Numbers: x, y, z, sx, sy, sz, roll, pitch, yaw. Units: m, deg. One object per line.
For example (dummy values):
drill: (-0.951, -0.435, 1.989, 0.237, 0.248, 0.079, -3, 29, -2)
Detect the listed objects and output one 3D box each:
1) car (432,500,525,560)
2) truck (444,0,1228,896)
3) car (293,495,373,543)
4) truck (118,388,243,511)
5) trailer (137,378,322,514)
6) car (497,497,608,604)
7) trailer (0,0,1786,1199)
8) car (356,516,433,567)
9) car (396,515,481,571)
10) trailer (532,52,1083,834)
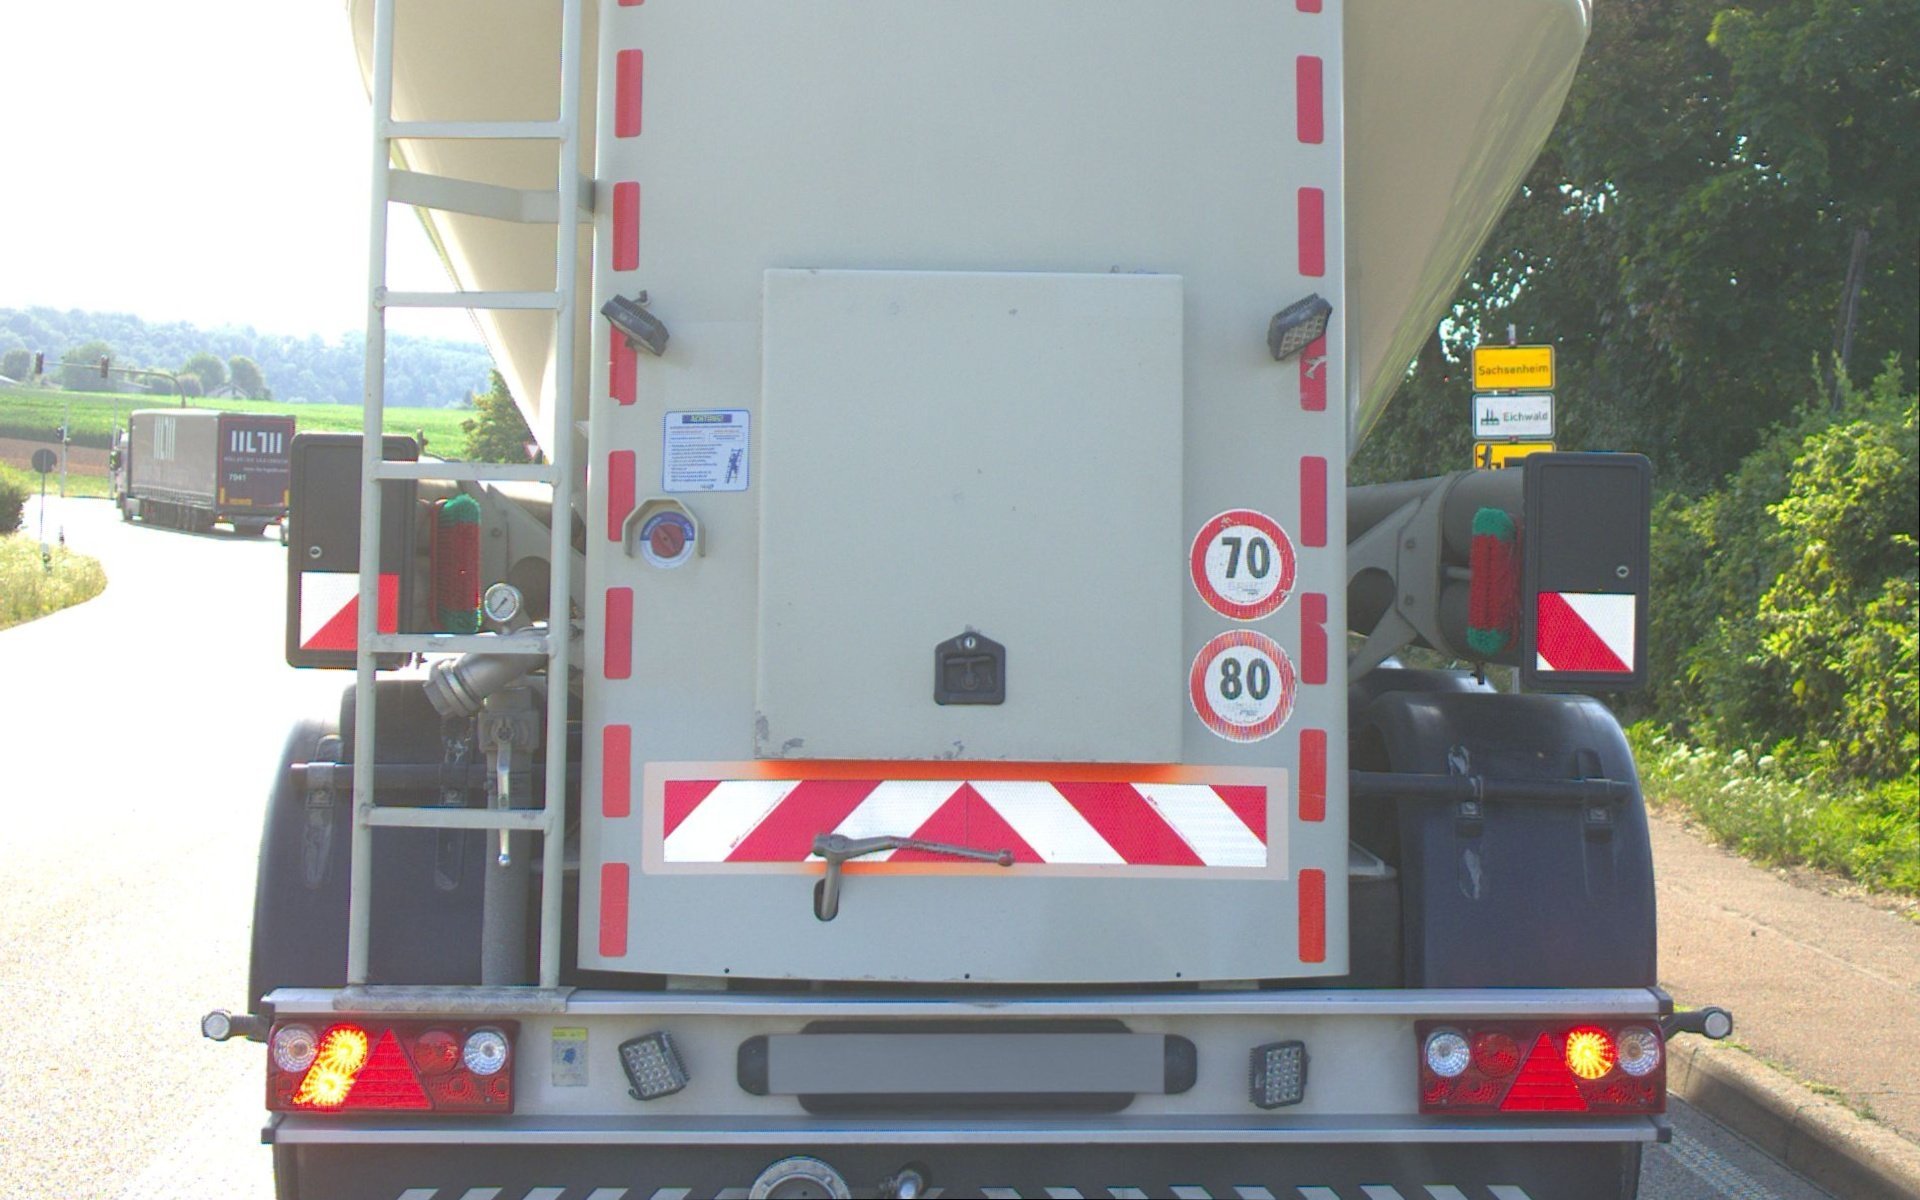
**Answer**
car: (-11.444, -1.673, 81.521, 1.580, 1.336, 3.427, 2, 1, -18)
truck: (-0.540, -0.929, 14.960, 2.909, 3.992, 4.060, 1, 1, -2)
car: (-18.635, -2.414, 102.145, 1.769, 1.201, 3.427, -7, 4, -18)
truck: (-28.885, -5.528, 127.159, 3.375, 4.335, 5.707, 2, 1, -24)
trailer: (-25.548, -5.272, 119.502, 3.375, 4.335, 14.297, 2, 1, -24)
car: (-7.987, -0.985, 67.159, 1.861, 2.007, 3.720, 1, 1, -11)
trailer: (-0.361, -0.807, 10.315, 2.909, 3.992, 9.931, 1, 1, -2)
car: (-15.788, -1.639, 95.890, 1.580, 1.336, 3.427, 2, 1, -18)
car: (-13.301, -1.458, 87.593, 1.580, 1.336, 3.427, 2, 1, -18)
trailer: (-0.916, -1.025, 26.450, 2.955, 4.300, 14.176, 2, 1, 0)
